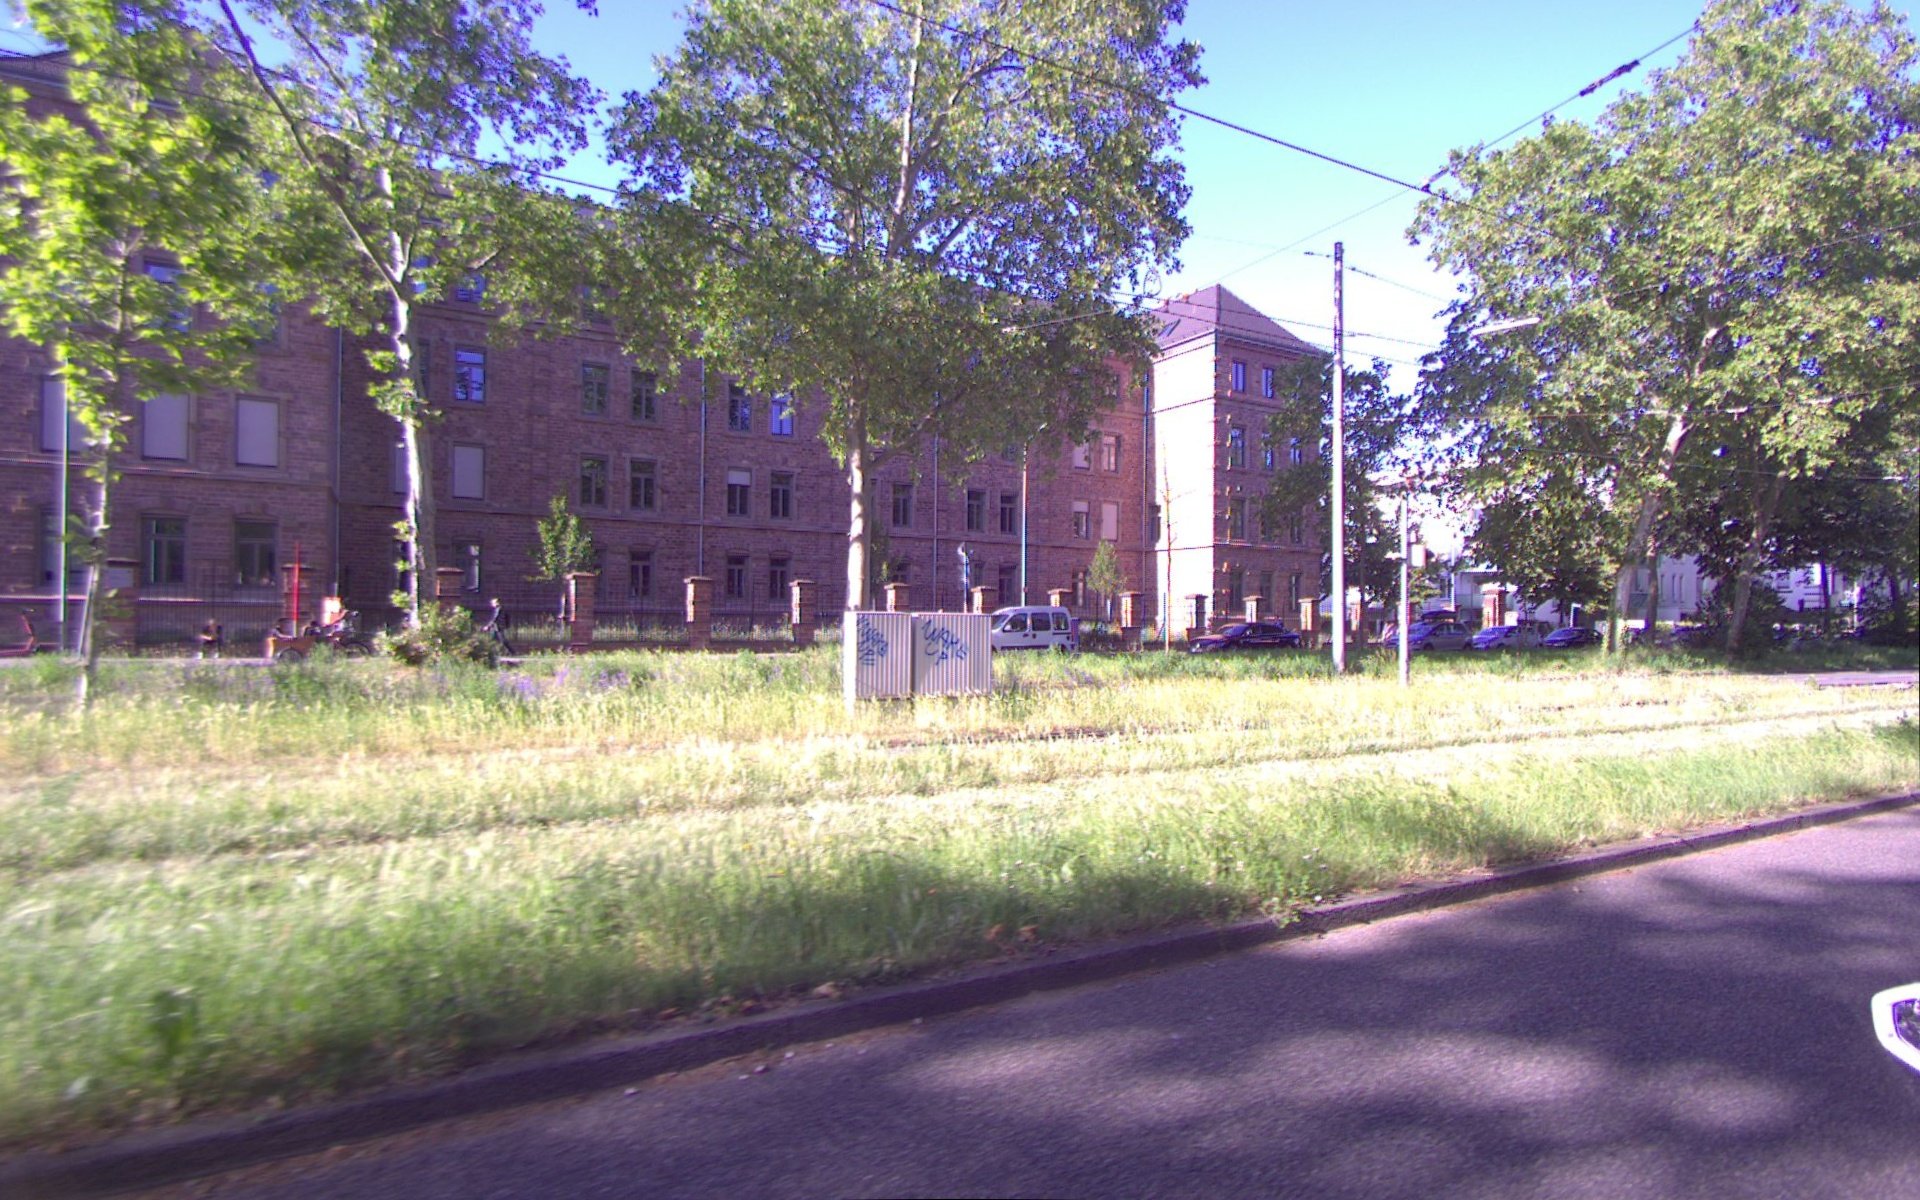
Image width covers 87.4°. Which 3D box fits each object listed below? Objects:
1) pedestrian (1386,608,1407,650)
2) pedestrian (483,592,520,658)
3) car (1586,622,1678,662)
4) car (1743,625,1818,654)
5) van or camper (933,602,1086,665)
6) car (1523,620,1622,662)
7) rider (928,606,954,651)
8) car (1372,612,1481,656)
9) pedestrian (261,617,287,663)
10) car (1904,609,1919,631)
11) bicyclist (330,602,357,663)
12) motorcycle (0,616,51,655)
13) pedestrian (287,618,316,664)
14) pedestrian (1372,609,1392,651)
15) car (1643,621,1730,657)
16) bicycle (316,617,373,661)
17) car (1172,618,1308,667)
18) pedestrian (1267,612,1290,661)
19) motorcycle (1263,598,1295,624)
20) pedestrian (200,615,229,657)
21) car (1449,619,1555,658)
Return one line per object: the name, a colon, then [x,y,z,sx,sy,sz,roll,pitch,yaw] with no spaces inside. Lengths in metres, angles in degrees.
pedestrian: [21.262,1.414,48.894,0.618,2.040,0.711,1,-1,-29]
pedestrian: [-13.680,0.733,29.952,0.930,1.925,0.897,1,-1,-29]
car: [33.302,2.053,49.774,4.686,1.833,2.097,1,-1,-32]
car: [48.358,2.366,59.172,5.034,1.619,2.016,2,-4,-33]
van or camper: [1.543,1.041,30.920,4.384,1.811,1.983,2,-2,-32]
car: [28.698,1.887,47.045,4.684,1.833,2.098,1,-1,-31]
rider: [-0.703,1.054,37.479,0.678,1.666,0.725,1,-1,-30]
car: [19.283,1.375,41.486,4.362,1.742,1.762,1,-1,-26]
pedestrian: [-16.817,0.976,24.641,0.473,1.114,0.583,1,-1,-31]
car: [89.701,1.869,93.212,3.952,2.040,1.985,1,-1,-29]
bicyclist: [-15.605,0.815,25.420,0.498,1.518,0.450,1,-1,-40]
motorcycle: [-23.304,0.884,24.950,1.034,0.959,0.332,1,-1,-34]
pedestrian: [-16.309,1.000,24.873,0.582,1.114,0.441,1,-1,-35]
pedestrian: [20.833,1.482,49.579,0.618,2.040,0.711,1,-1,-29]
car: [38.182,2.033,52.785,4.685,1.833,2.098,1,-1,-32]
bicycle: [-15.589,0.987,25.433,1.166,1.082,0.457,1,-1,-40]
car: [10.143,1.493,36.254,4.769,1.671,1.984,1,-1,-30]
pedestrian: [13.451,1.546,42.374,0.702,2.040,0.582,1,-1,-31]
motorcycle: [13.479,0.447,42.435,1.278,1.067,0.581,0,0,-30]
pedestrian: [-20.035,0.953,27.006,0.582,1.114,0.441,1,-1,-35]
car: [23.914,1.659,44.317,4.362,1.637,1.987,1,-1,-26]
